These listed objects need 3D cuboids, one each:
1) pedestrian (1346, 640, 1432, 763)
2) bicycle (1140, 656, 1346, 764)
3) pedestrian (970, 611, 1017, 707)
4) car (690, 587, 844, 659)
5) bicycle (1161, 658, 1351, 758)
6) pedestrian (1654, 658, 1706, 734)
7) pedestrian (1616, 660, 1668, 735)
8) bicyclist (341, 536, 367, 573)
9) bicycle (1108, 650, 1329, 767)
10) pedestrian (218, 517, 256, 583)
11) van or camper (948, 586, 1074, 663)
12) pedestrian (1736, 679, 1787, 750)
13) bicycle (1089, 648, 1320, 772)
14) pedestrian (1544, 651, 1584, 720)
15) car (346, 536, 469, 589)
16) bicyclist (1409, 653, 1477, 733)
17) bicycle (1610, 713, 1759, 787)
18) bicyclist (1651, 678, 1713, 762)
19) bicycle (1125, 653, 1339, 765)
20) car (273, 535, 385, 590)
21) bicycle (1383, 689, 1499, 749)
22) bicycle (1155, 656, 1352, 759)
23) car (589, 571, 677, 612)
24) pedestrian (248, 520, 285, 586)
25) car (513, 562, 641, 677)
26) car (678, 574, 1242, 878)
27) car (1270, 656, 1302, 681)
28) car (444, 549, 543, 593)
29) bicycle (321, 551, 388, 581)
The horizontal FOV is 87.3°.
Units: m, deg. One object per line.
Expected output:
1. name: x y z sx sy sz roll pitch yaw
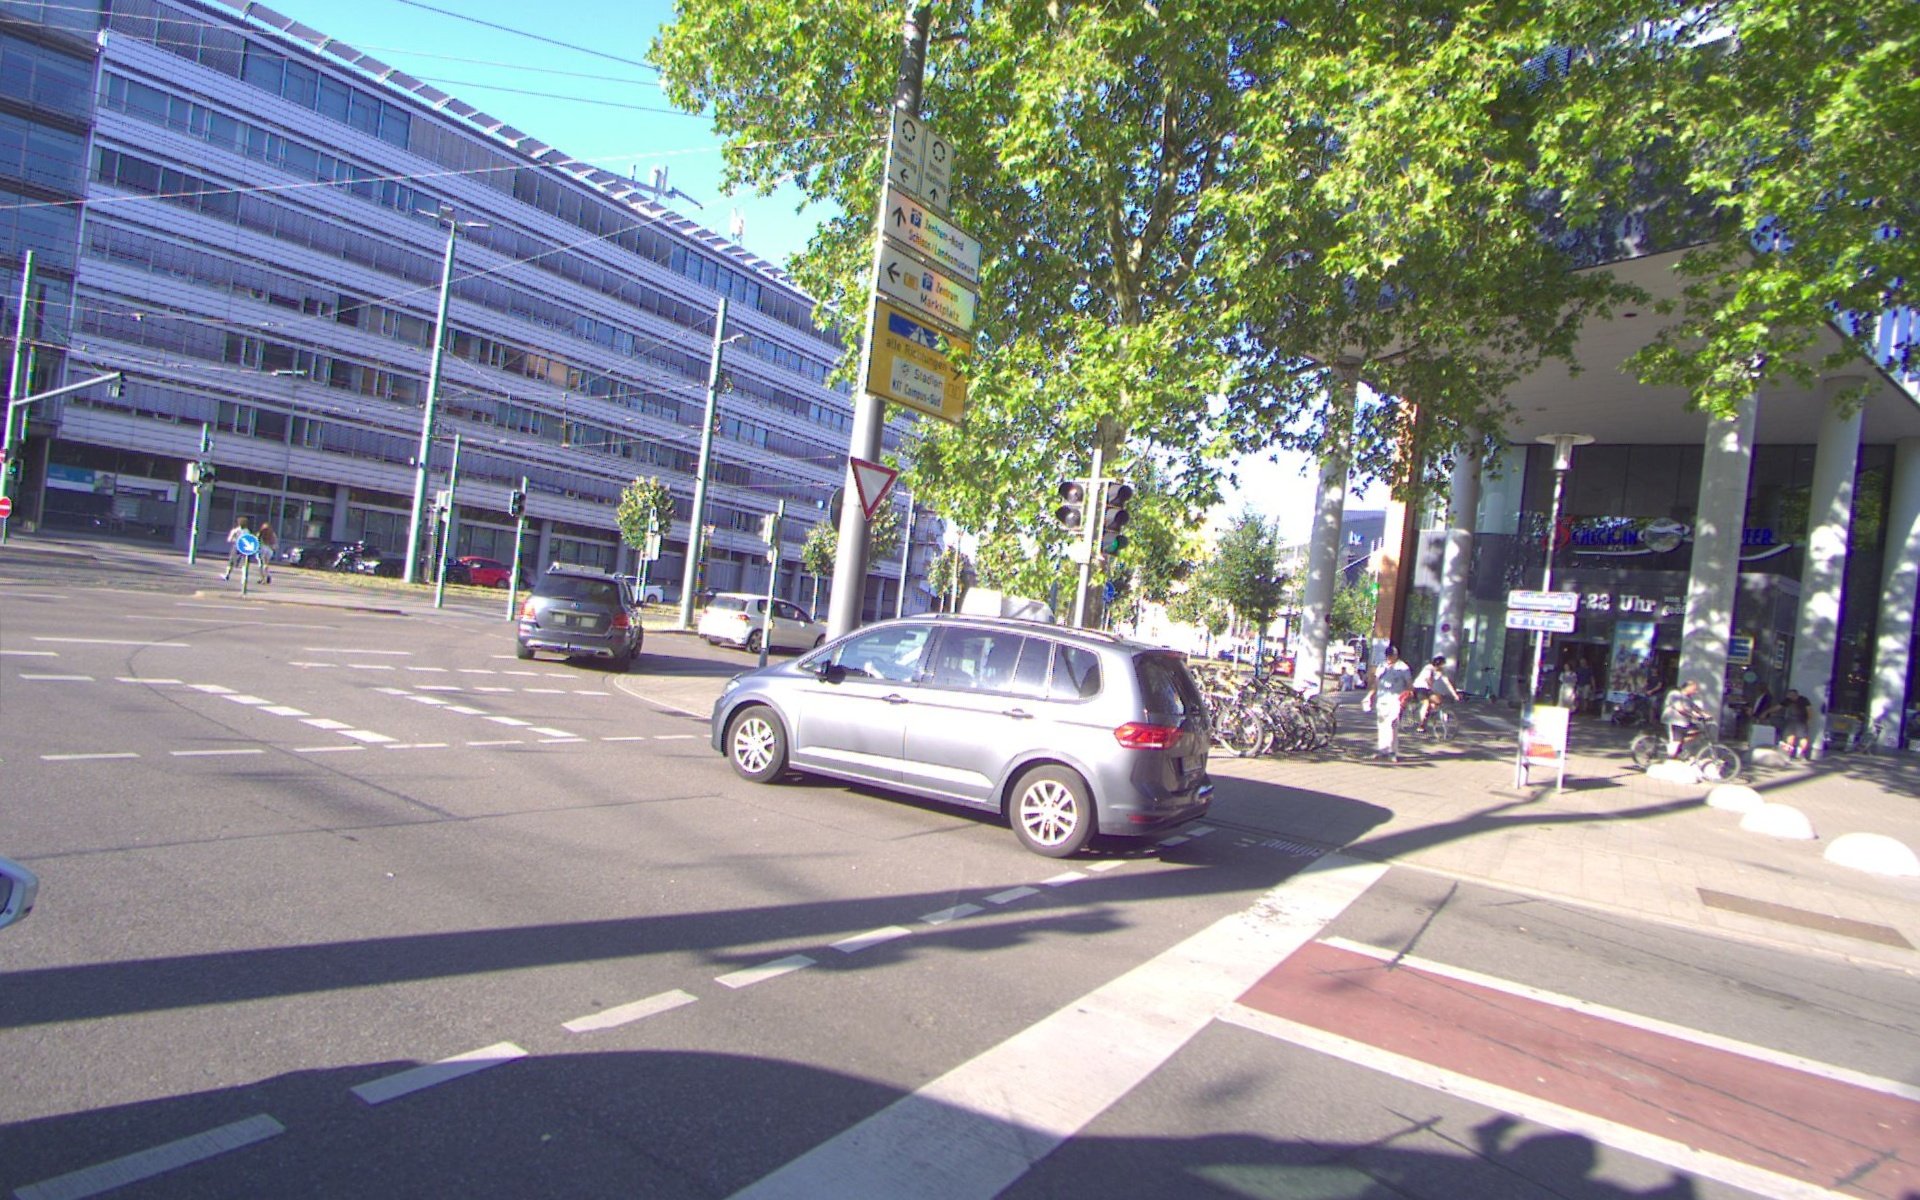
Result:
1. pedestrian: 7.142 1.678 16.775 0.800 1.913 0.871 5 1 -16
2. bicycle: 4.379 1.680 15.701 2.896 1.251 0.705 6 -3 31
3. pedestrian: 0.608 1.059 18.077 0.523 1.644 0.543 7 1 19
4. car: -5.073 0.656 26.907 1.614 1.445 3.979 6 -2 33
5. bicycle: 4.981 1.803 17.054 2.896 1.250 0.698 6 -4 31
6. pedestrian: 20.781 2.770 29.054 0.818 2.037 0.825 8 -1 -33
7. pedestrian: 19.856 2.828 29.285 0.813 2.037 0.840 8 -2 -34
8. bicyclist: -26.895 -2.024 44.651 0.604 1.521 0.663 7 1 37
9. bicycle: 3.662 1.514 14.441 2.896 1.243 0.686 6 -2 32
10. pedestrian: -20.314 -1.401 28.278 0.672 1.780 0.735 6 1 -33
11. van or camper: 2.264 1.092 42.149 1.974 2.646 6.481 7 -1 34
12. pedestrian: 21.510 3.075 26.992 0.641 1.765 0.828 6 1 -41
13. bicycle: 3.303 1.465 13.817 2.896 1.252 0.705 6 -2 32
14. pedestrian: 18.910 2.684 31.505 0.817 2.037 0.647 8 -2 -38
15. car: -24.111 -1.627 44.029 1.854 1.744 4.256 6 -1 35
16. bicyclist: 10.432 2.004 21.720 1.016 1.585 0.804 6 -1 42
17. bicycle: 13.881 2.852 19.348 0.596 1.028 2.172 4 2 -39
18. bicyclist: 13.897 2.293 19.372 0.587 1.504 0.743 4 1 -39
19. bicycle: 4.028 1.592 15.061 2.896 1.252 0.705 6 -2 32
20. car: -30.645 -1.774 48.952 1.967 2.036 3.995 6 -3 32
21. bicycle: 10.353 2.533 21.712 2.072 0.964 0.744 6 1 43
22. bicycle: 4.729 1.715 16.364 2.896 1.252 0.705 6 -2 31
23. car: -17.370 -0.413 53.604 1.852 1.614 3.991 6 -3 35
24. pedestrian: -19.764 -1.330 28.667 0.678 1.780 0.735 6 1 -32
25. car: -6.922 0.298 18.191 1.746 1.655 4.230 8 -2 -21
26. car: -0.075 0.884 8.470 4.315 1.655 1.710 6 -1 28
27. car: 23.532 4.951 72.592 1.469 1.476 3.594 7 -2 28
28. car: -23.155 -1.401 50.056 1.770 1.569 3.990 6 -3 37
29. bicycle: -26.898 -1.516 44.713 0.627 1.035 2.409 7 0 37
